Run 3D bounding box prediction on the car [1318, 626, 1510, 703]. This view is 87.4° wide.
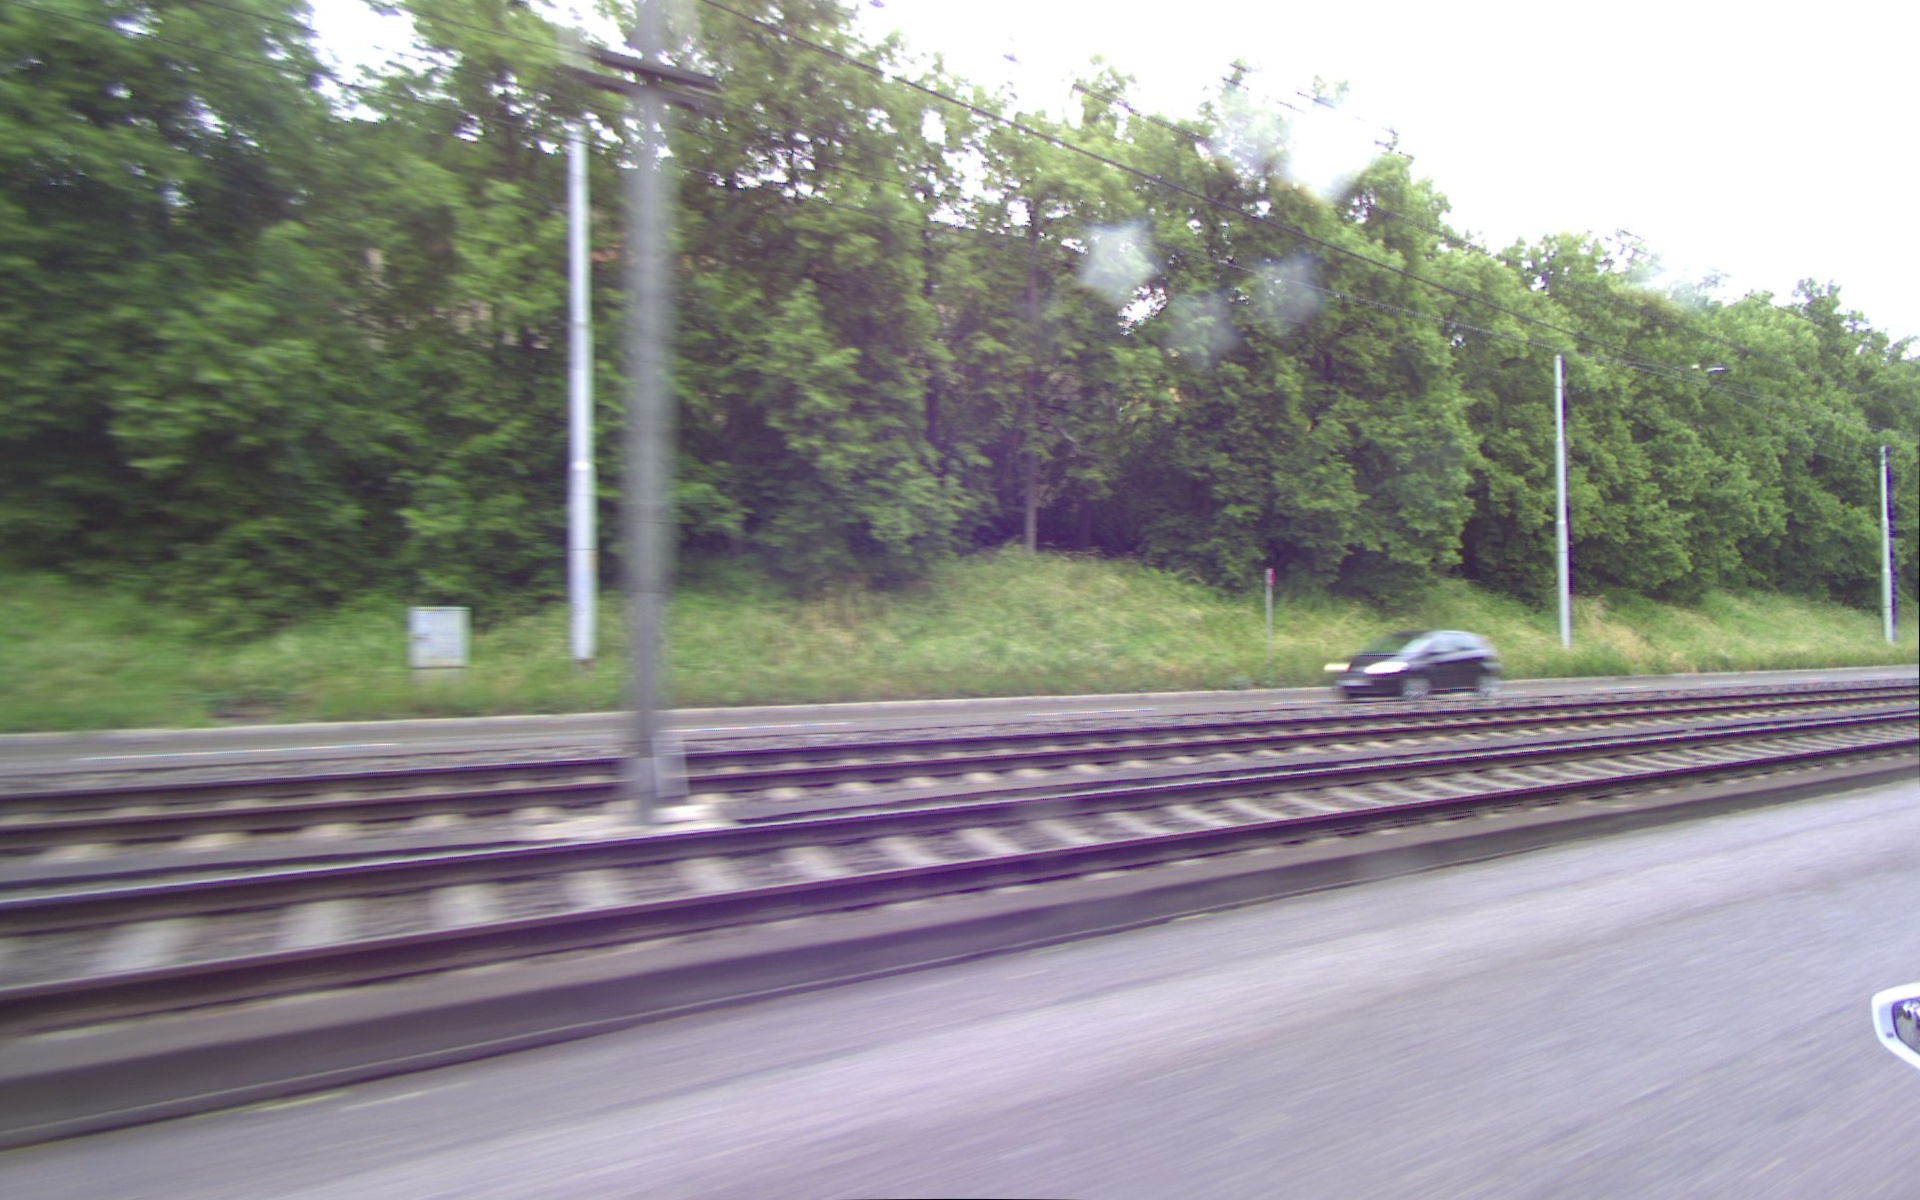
[{"bbox_3d":[9.429,1.312,20.815,3.981,1.462,1.661,1,-4,-32],"label":"car"}]
